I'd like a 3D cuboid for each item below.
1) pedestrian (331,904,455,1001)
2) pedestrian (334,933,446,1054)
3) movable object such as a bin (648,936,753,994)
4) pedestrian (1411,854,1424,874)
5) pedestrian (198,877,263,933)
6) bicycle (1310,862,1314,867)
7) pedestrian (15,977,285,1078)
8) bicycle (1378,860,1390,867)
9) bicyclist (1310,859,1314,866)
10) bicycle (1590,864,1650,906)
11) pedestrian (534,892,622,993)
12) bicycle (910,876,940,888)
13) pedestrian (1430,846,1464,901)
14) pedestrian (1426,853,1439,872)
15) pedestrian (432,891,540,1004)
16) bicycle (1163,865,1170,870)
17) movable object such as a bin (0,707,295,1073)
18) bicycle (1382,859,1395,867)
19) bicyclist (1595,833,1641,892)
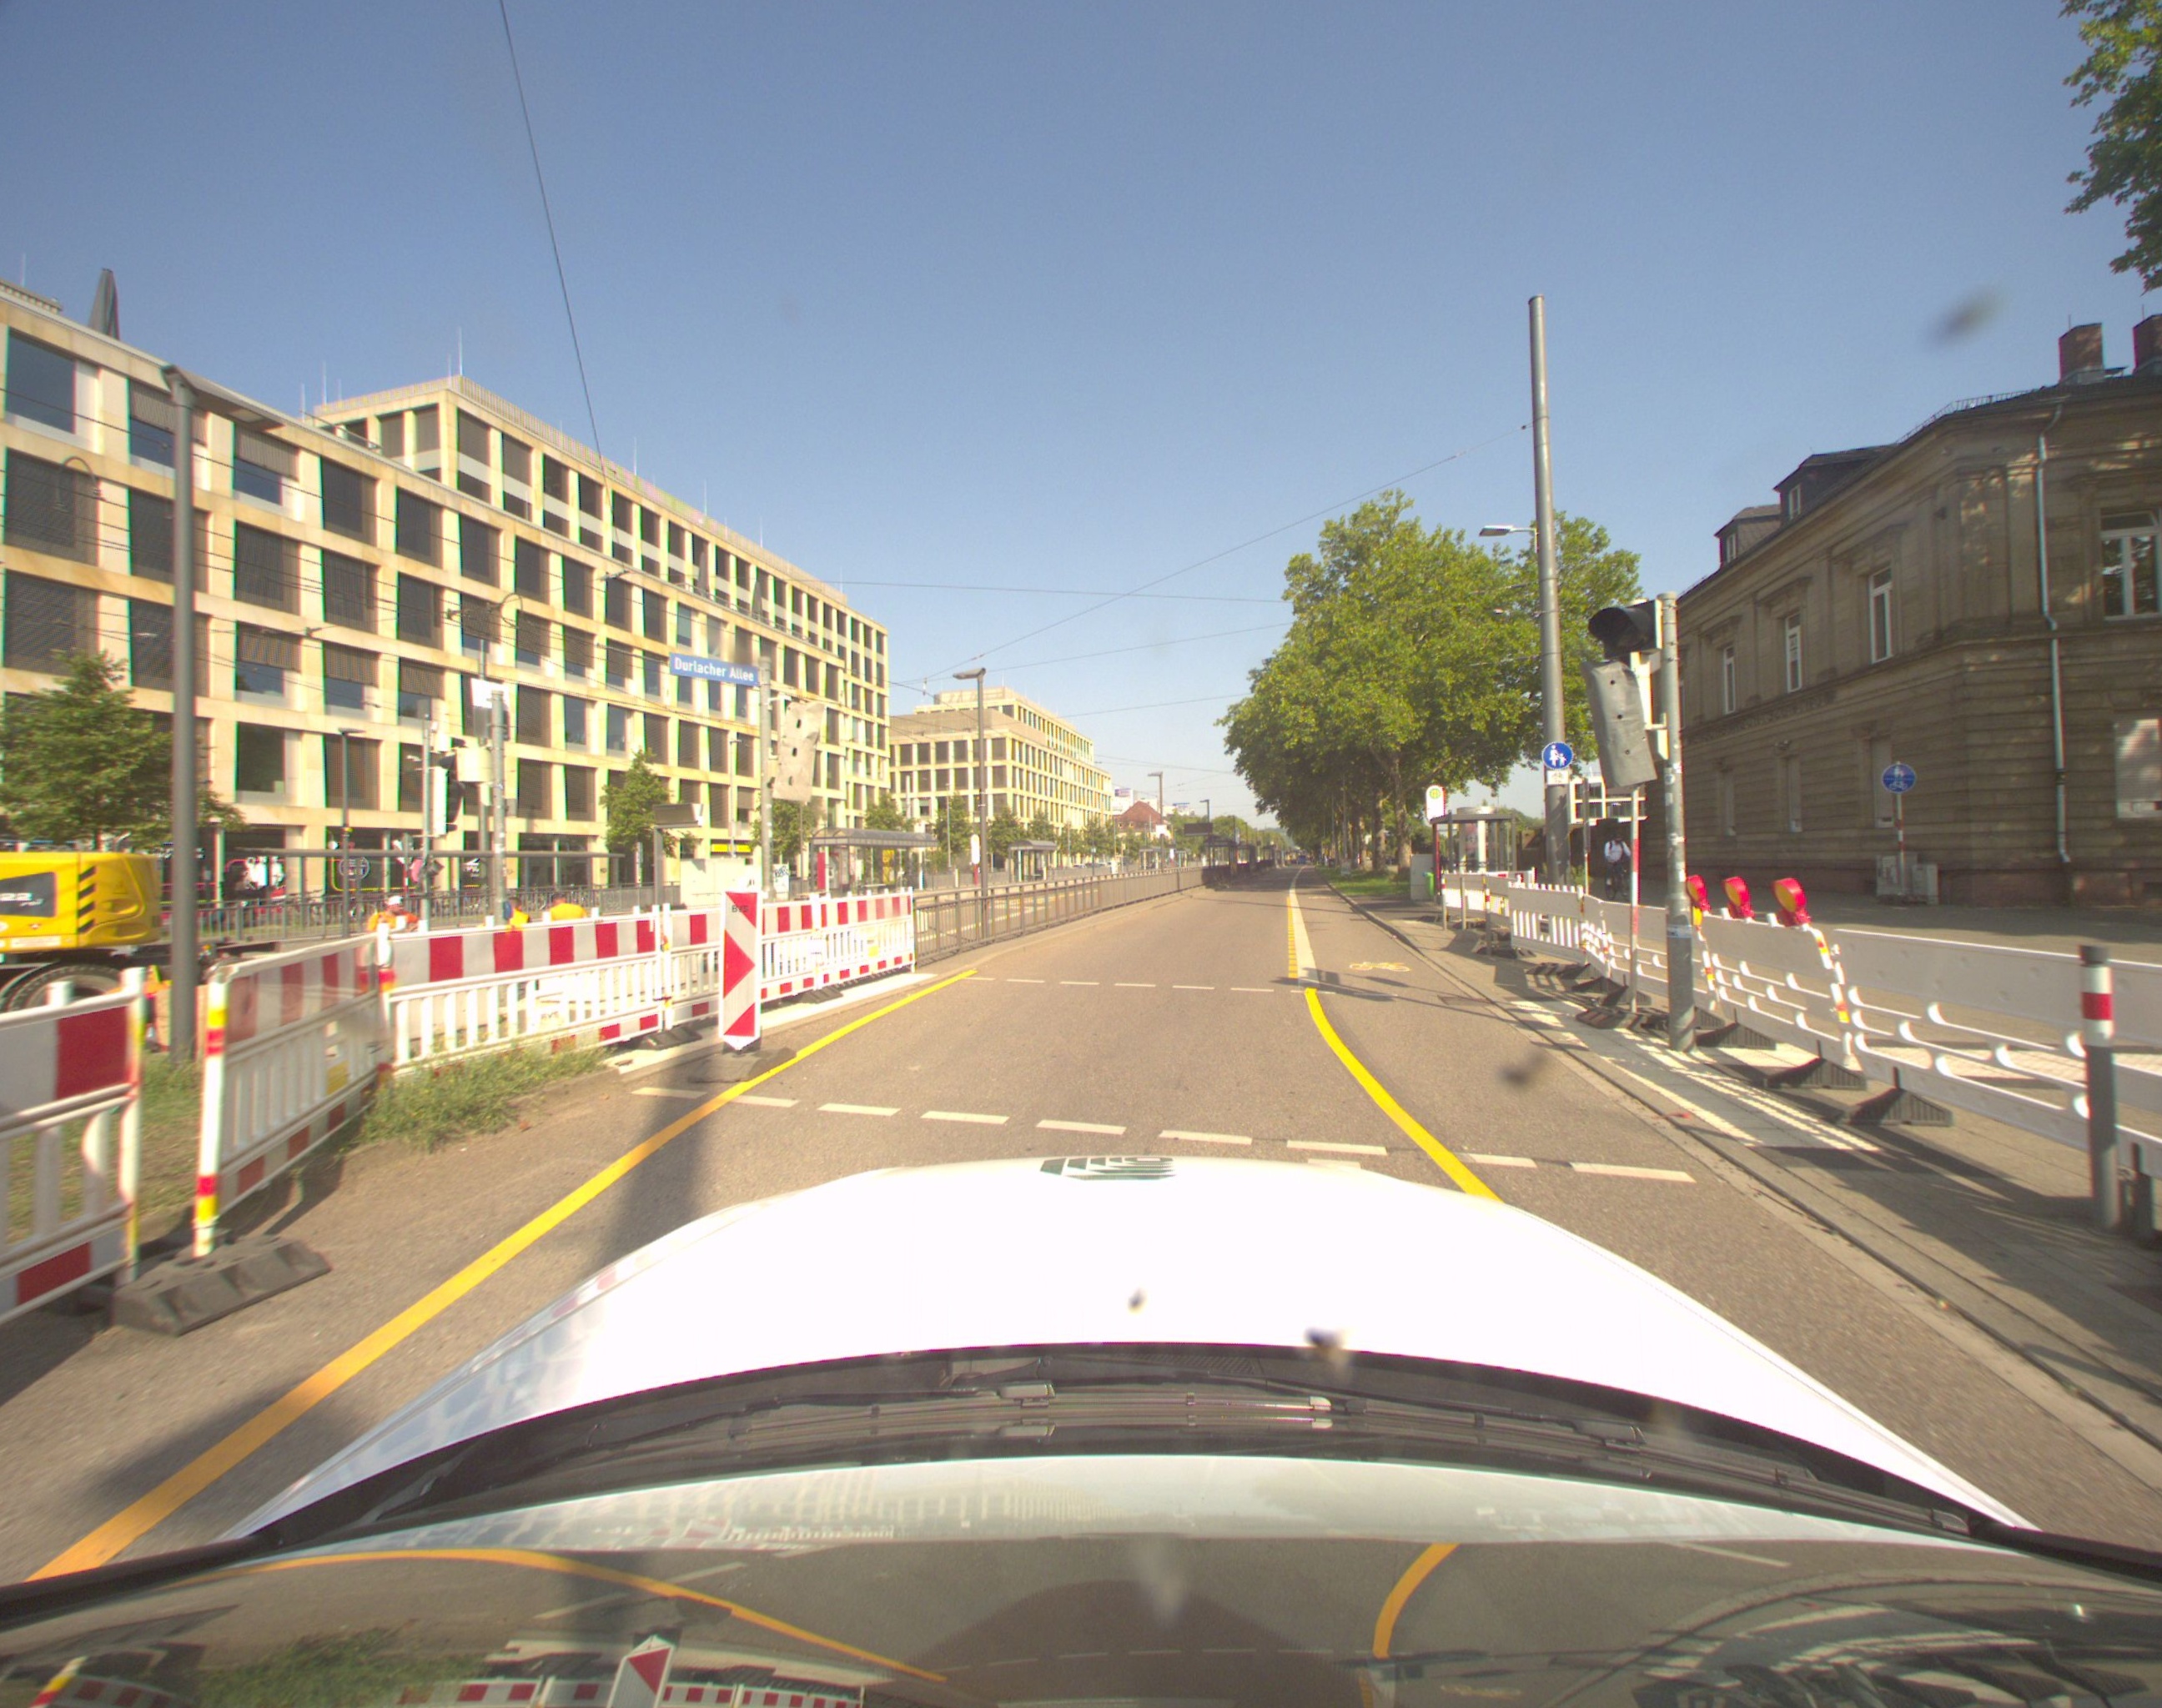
[{"bbox_3d":[-10.141,1.423,12.032,1.006,1.306,0.987,-2,-1,19],"label":"pedestrian"},{"bbox_3d":[-7.939,1.558,9.361,0.973,1.190,0.803,-2,-1,39],"label":"pedestrian"},{"bbox_3d":[-5.386,1.543,11.509,1.491,0.652,0.706,-2,-1,36],"label":"movable object such as a bin"},{"bbox_3d":[27.670,0.813,67.020,0.800,1.636,0.951,-3,-2,16],"label":"pedestrian"},{"bbox_3d":[-27.991,1.673,26.812,0.969,1.752,1.128,-2,-1,15],"label":"pedestrian"},{"bbox_3d":[49.515,2.291,174.592,0.709,1.107,2.519,-1,-1,16],"label":"bicycle"},{"bbox_3d":[-8.237,1.491,7.225,1.886,0.636,0.917,-2,-1,19],"label":"pedestrian"},{"bbox_3d":[43.533,1.320,116.892,0.507,0.969,1.647,-2,-2,-26],"label":"bicycle"},{"bbox_3d":[49.486,1.794,174.523,0.700,1.461,1.013,-1,-1,16],"label":"bicyclist"},{"bbox_3d":[14.464,0.799,21.904,0.712,1.042,1.910,-2,0,13],"label":"bicycle"},{"bbox_3d":[-7.053,1.200,11.427,0.829,1.306,0.803,-2,-1,39],"label":"pedestrian"},{"bbox_3d":[-13.591,2.424,70.845,2.416,0.986,0.825,-2,-1,14],"label":"bicycle"},{"bbox_3d":[11.525,0.609,25.660,0.687,1.697,0.647,-2,-1,-6],"label":"pedestrian"},{"bbox_3d":[30.331,0.732,70.329,0.800,1.604,0.951,-3,-2,16],"label":"pedestrian"},{"bbox_3d":[-7.638,1.151,10.447,1.299,1.306,0.803,-2,-1,39],"label":"pedestrian"},{"bbox_3d":[12.326,1.979,117.386,0.473,0.662,1.621,-2,-1,20],"label":"bicycle"},{"bbox_3d":[-14.610,0.475,8.300,3.470,4.013,9.098,-2,-1,39],"label":"movable object such as a bin"},{"bbox_3d":[43.018,1.273,113.942,1.642,0.969,0.509,-4,-2,21],"label":"bicycle"},{"bbox_3d":[14.453,0.228,21.941,0.712,1.543,0.959,-2,-1,13],"label":"bicyclist"}]
